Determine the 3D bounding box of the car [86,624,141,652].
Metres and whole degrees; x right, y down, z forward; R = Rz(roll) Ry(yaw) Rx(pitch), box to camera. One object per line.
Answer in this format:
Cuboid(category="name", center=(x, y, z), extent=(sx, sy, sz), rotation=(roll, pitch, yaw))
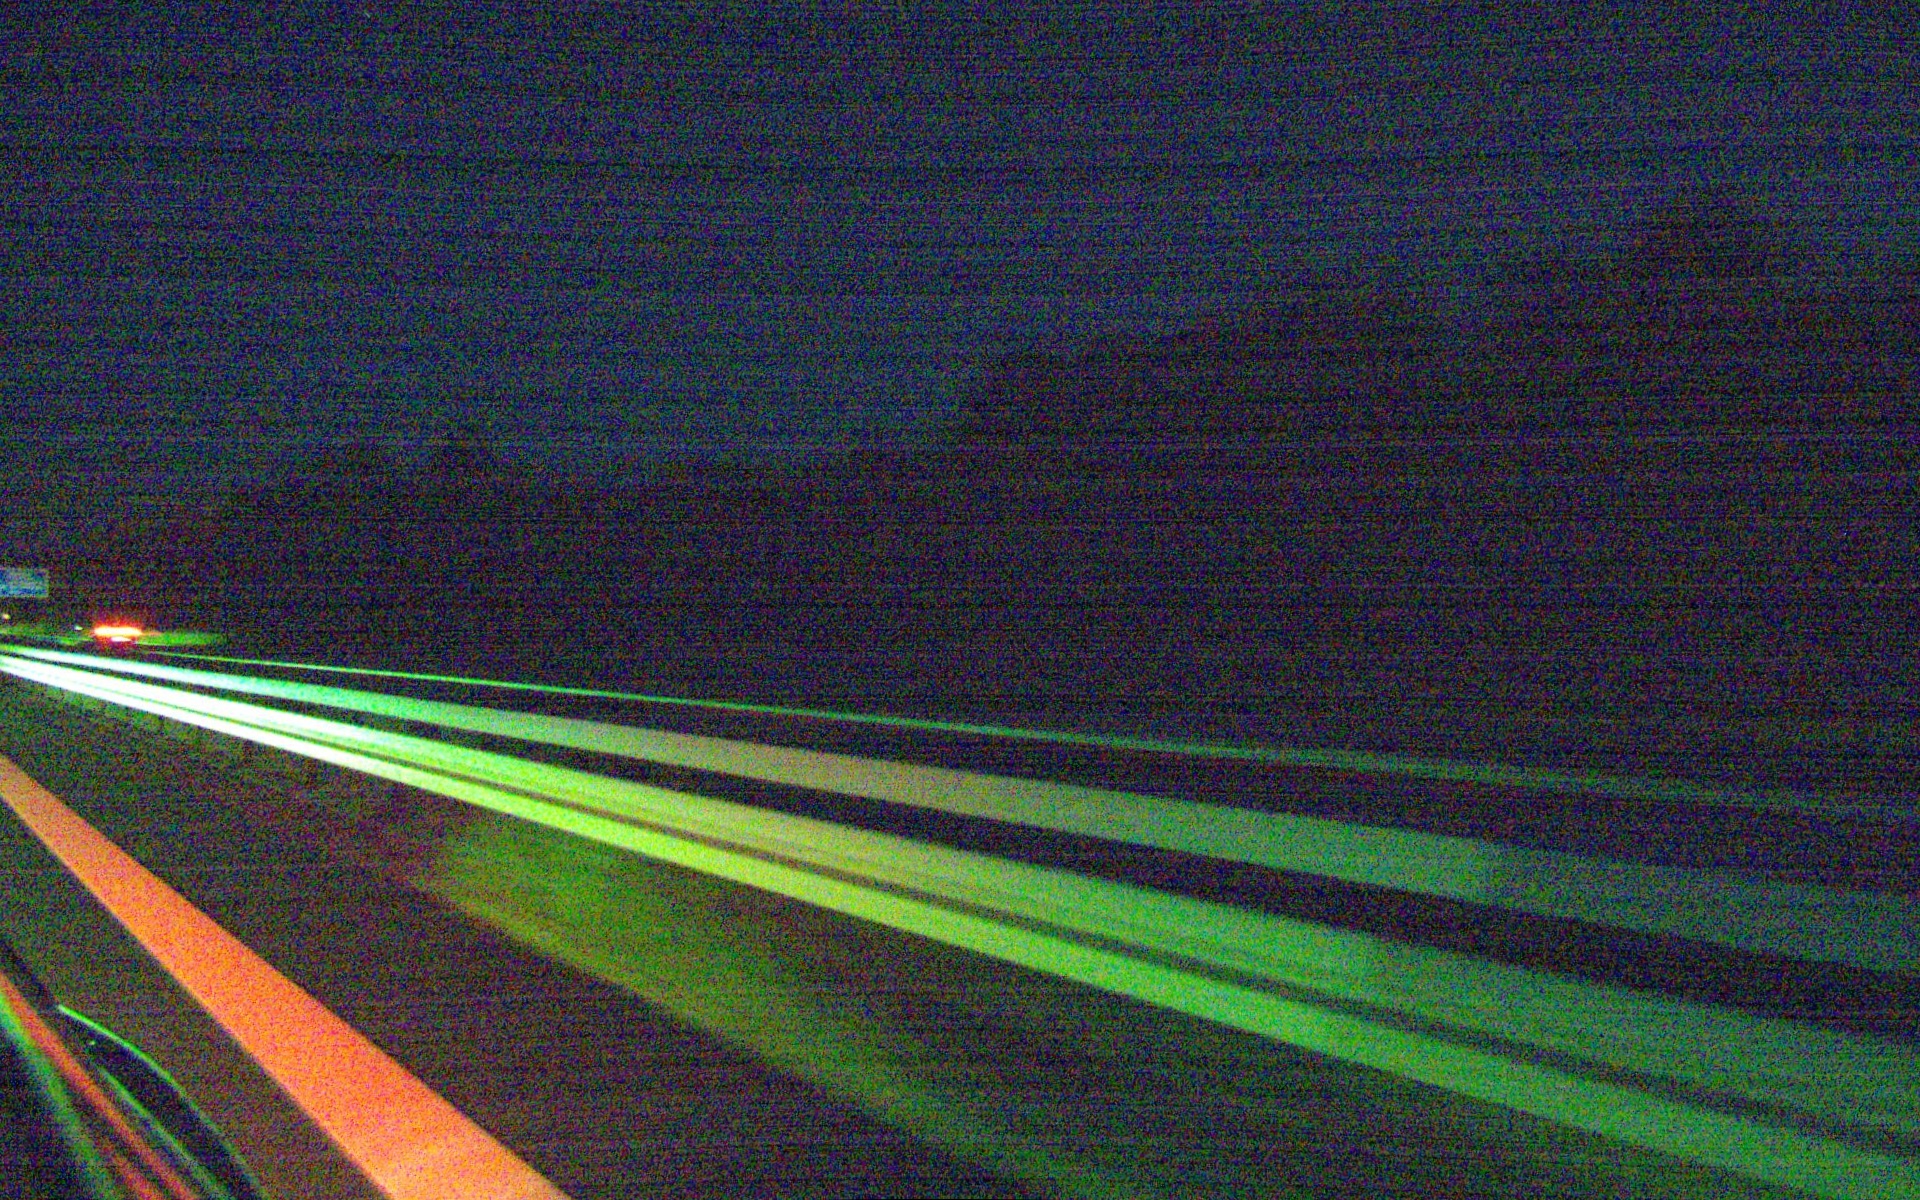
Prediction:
Cuboid(category="car", center=(-54.939, 2.476, 65.678), extent=(5.073, 1.651, 1.972), rotation=(-2, -5, 42))
